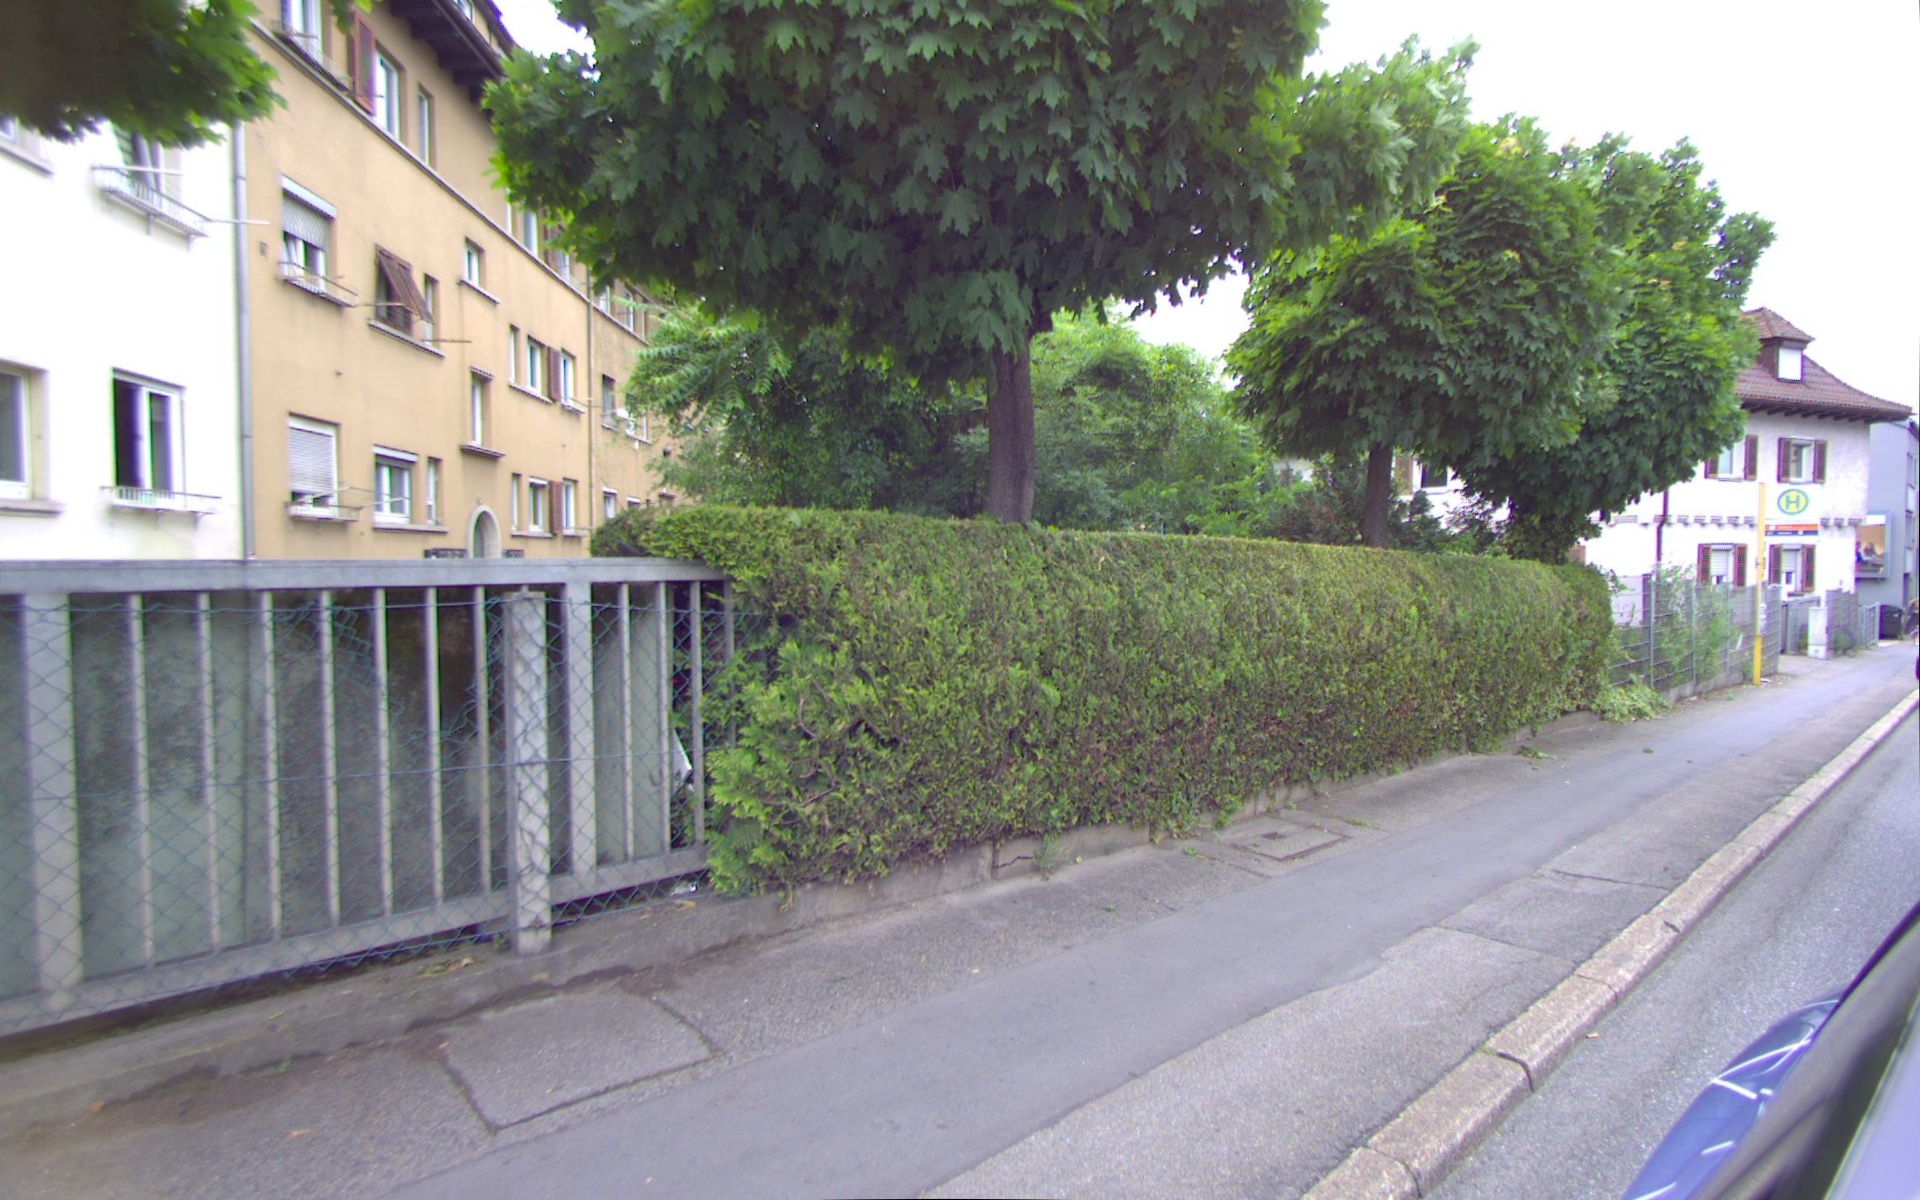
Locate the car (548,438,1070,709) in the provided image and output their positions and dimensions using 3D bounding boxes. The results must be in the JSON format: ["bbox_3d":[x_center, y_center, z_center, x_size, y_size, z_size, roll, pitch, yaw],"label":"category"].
[{"bbox_3d":[-0.959,-0.164,7.311,3.381,1.478,1.698,-1,0,-43],"label":"car"}]
